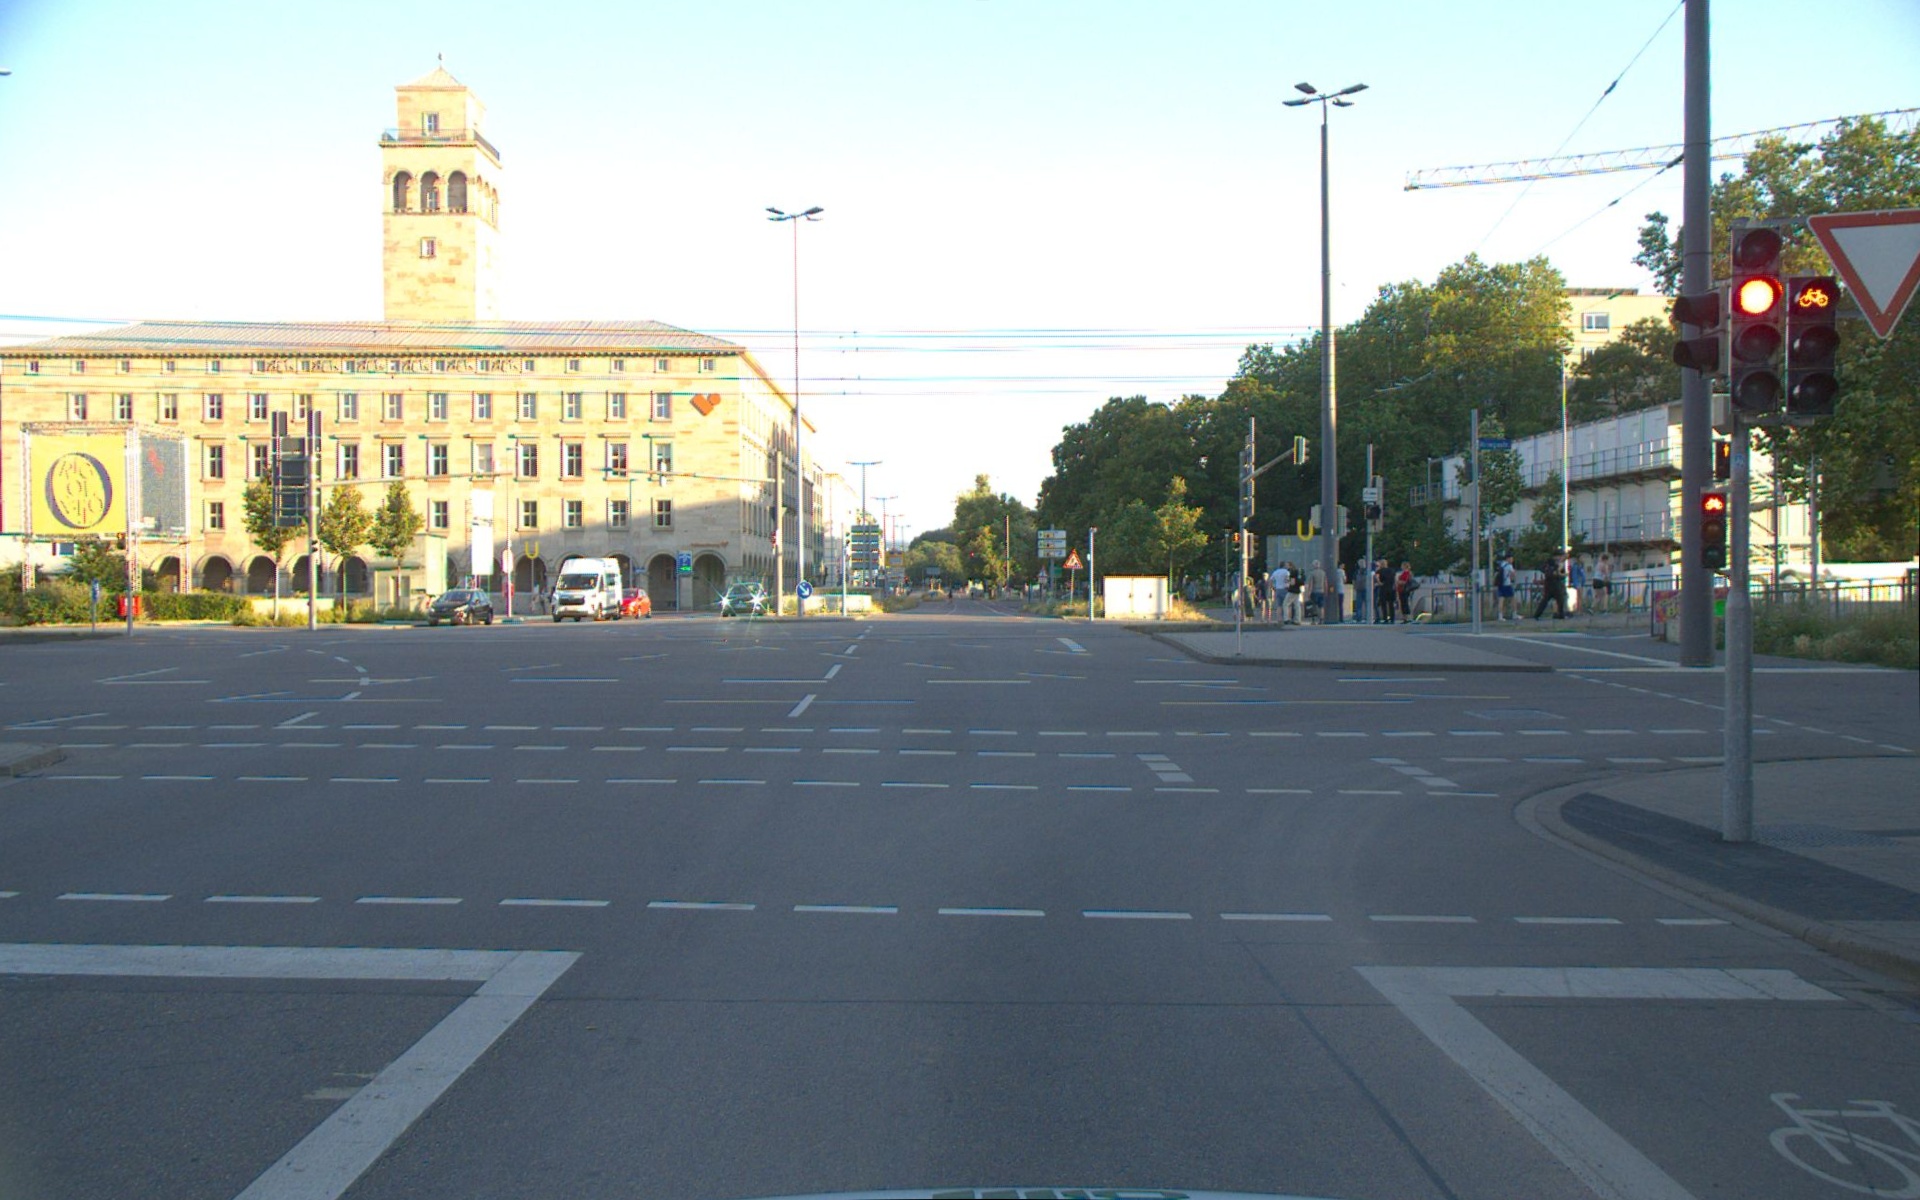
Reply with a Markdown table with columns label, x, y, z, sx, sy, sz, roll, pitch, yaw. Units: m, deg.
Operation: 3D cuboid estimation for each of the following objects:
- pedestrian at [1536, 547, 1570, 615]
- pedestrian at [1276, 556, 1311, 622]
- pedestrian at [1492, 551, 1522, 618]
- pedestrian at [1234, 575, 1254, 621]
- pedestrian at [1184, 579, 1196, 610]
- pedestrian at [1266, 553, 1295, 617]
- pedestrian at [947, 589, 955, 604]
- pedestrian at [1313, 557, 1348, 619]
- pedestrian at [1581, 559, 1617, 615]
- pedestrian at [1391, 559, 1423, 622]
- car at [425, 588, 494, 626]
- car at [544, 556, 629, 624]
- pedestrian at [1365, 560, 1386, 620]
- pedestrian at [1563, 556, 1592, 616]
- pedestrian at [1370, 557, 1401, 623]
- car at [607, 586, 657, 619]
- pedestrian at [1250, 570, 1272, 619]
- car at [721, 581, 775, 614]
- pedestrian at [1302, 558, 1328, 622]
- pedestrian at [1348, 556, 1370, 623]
| label | x | y | z | sx | sy | sz | roll | pitch | yaw |
| --- | --- | --- | --- | --- | --- | --- | --- | --- | --- |
| pedestrian | 15.513 | -0.498 | 43.280 | 0.652 | 1.755 | 0.713 | 0 | 1 | 5 |
| pedestrian | 8.966 | -0.294 | 44.413 | 0.892 | 1.755 | 0.714 | 0 | 1 | 14 |
| pedestrian | 14.517 | -0.416 | 43.900 | 0.652 | 1.755 | 0.714 | 0 | 1 | 8 |
| pedestrian | 10.475 | -0.074 | 60.951 | 0.548 | 1.683 | 0.902 | 0 | 1 | 20 |
| pedestrian | 13.432 | -0.351 | 96.566 | 0.629 | 1.791 | 0.525 | 0 | 1 | 1 |
| pedestrian | 8.901 | -0.417 | 45.899 | 0.696 | 1.755 | 0.668 | 0 | 1 | 19 |
| pedestrian | -1.077 | -0.396 | 194.747 | 0.888 | 1.700 | 1.306 | -1 | 1 | -2 |
| pedestrian | 10.473 | -0.347 | 46.791 | 0.892 | 1.755 | 0.714 | 0 | 1 | 7 |
| pedestrian | 16.900 | -0.351 | 43.737 | 0.697 | 1.466 | 0.678 | -1 | 0 | 0 |
| pedestrian | 12.490 | -0.269 | 46.242 | 0.826 | 1.764 | 0.706 | 0 | 1 | 11 |
| car | -21.129 | 0.287 | 70.008 | 1.786 | 1.491 | 4.156 | -1 | 1 | -2 |
| car | -16.242 | -0.477 | 72.237 | 2.232 | 2.824 | 6.085 | -1 | 1 | 1 |
| pedestrian | 11.891 | -0.286 | 47.312 | 0.560 | 1.708 | 0.639 | 0 | 1 | 13 |
| pedestrian | 16.819 | -0.373 | 45.067 | 0.559 | 1.620 | 0.536 | -1 | 0 | -1 |
| pedestrian | 11.774 | -0.281 | 45.819 | 0.788 | 1.822 | 0.801 | 0 | 1 | 11 |
| car | -16.021 | 0.106 | 80.938 | 1.703 | 1.513 | 4.000 | -1 | 1 | -1 |
| pedestrian | 11.038 | -0.203 | 60.677 | 0.665 | 1.788 | 0.902 | 0 | 1 | 20 |
| car | -9.253 | -0.139 | 72.492 | 1.785 | 1.365 | 4.001 | 0 | 1 | 1 |
| pedestrian | 9.807 | -0.273 | 45.716 | 0.695 | 1.755 | 0.669 | 0 | 1 | 13 |
| pedestrian | 11.055 | -0.293 | 45.839 | 0.560 | 1.822 | 0.639 | 0 | 1 | 13 |
